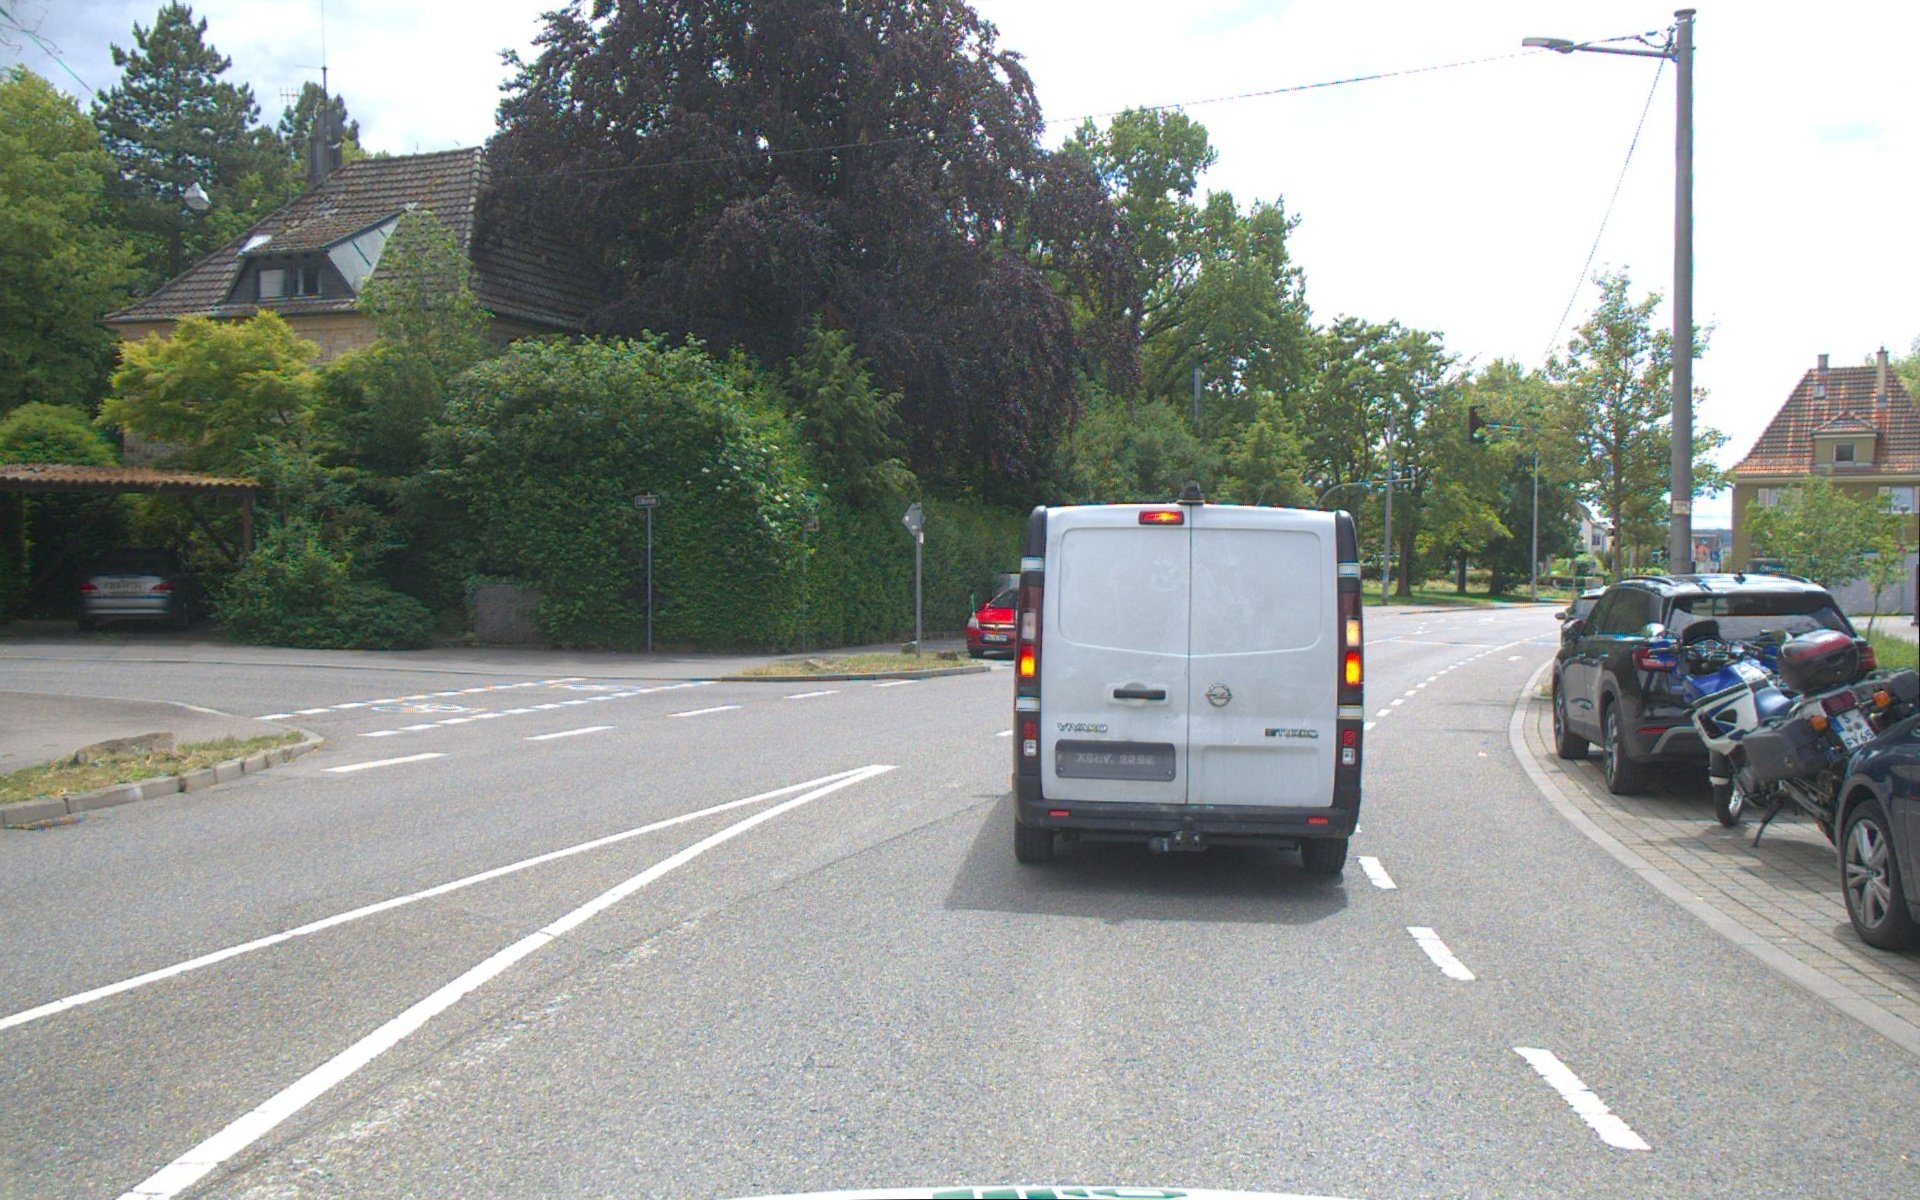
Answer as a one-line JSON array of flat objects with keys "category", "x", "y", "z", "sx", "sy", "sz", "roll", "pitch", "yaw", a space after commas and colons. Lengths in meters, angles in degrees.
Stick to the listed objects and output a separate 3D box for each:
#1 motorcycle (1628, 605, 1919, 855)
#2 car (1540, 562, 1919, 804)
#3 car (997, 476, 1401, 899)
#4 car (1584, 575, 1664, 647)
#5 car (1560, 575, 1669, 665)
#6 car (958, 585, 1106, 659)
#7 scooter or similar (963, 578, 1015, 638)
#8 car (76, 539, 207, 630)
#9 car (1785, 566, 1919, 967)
[{"category": "motorcycle", "x": 4.954, "y": 0.727, "z": 10.233, "sx": 1.048, "sy": 1.328, "sz": 2.262, "roll": -2, "pitch": 0, "yaw": 10}, {"category": "car", "x": 6.143, "y": 0.557, "z": 13.839, "sx": 1.838, "sy": 1.650, "sz": 4.851, "roll": -1, "pitch": 0, "yaw": 12}, {"category": "car", "x": 1.447, "y": 0.392, "z": 10.531, "sx": 1.898, "sy": 1.995, "sz": 4.837, "roll": 2, "pitch": 1, "yaw": 7}, {"category": "car", "x": 16.489, "y": 0.244, "z": 41.018, "sx": 1.701, "sy": 1.644, "sz": 4.386, "roll": -2, "pitch": 0, "yaw": 22}, {"category": "car", "x": 12.288, "y": 0.341, "z": 31.234, "sx": 1.728, "sy": 1.503, "sz": 4.937, "roll": -2, "pitch": 0, "yaw": 20}, {"category": "car", "x": 1.597, "y": 0.411, "z": 34.726, "sx": 1.627, "sy": 1.402, "sz": 4.565, "roll": 2, "pitch": 1, "yaw": 22}, {"category": "scooter or similar", "x": 0.726, "y": 0.178, "z": 40.450, "sx": 0.657, "sy": 1.436, "sz": 1.648, "roll": 2, "pitch": 1, "yaw": 24}, {"category": "car", "x": -14.847, "y": -0.314, "z": 30.182, "sx": 1.697, "sy": 1.536, "sz": 3.977, "roll": 1, "pitch": 2, "yaw": -20}, {"category": "car", "x": 4.655, "y": 0.658, "z": 5.862, "sx": 1.875, "sy": 1.605, "sz": 4.434, "roll": -1, "pitch": 0, "yaw": 10}]
